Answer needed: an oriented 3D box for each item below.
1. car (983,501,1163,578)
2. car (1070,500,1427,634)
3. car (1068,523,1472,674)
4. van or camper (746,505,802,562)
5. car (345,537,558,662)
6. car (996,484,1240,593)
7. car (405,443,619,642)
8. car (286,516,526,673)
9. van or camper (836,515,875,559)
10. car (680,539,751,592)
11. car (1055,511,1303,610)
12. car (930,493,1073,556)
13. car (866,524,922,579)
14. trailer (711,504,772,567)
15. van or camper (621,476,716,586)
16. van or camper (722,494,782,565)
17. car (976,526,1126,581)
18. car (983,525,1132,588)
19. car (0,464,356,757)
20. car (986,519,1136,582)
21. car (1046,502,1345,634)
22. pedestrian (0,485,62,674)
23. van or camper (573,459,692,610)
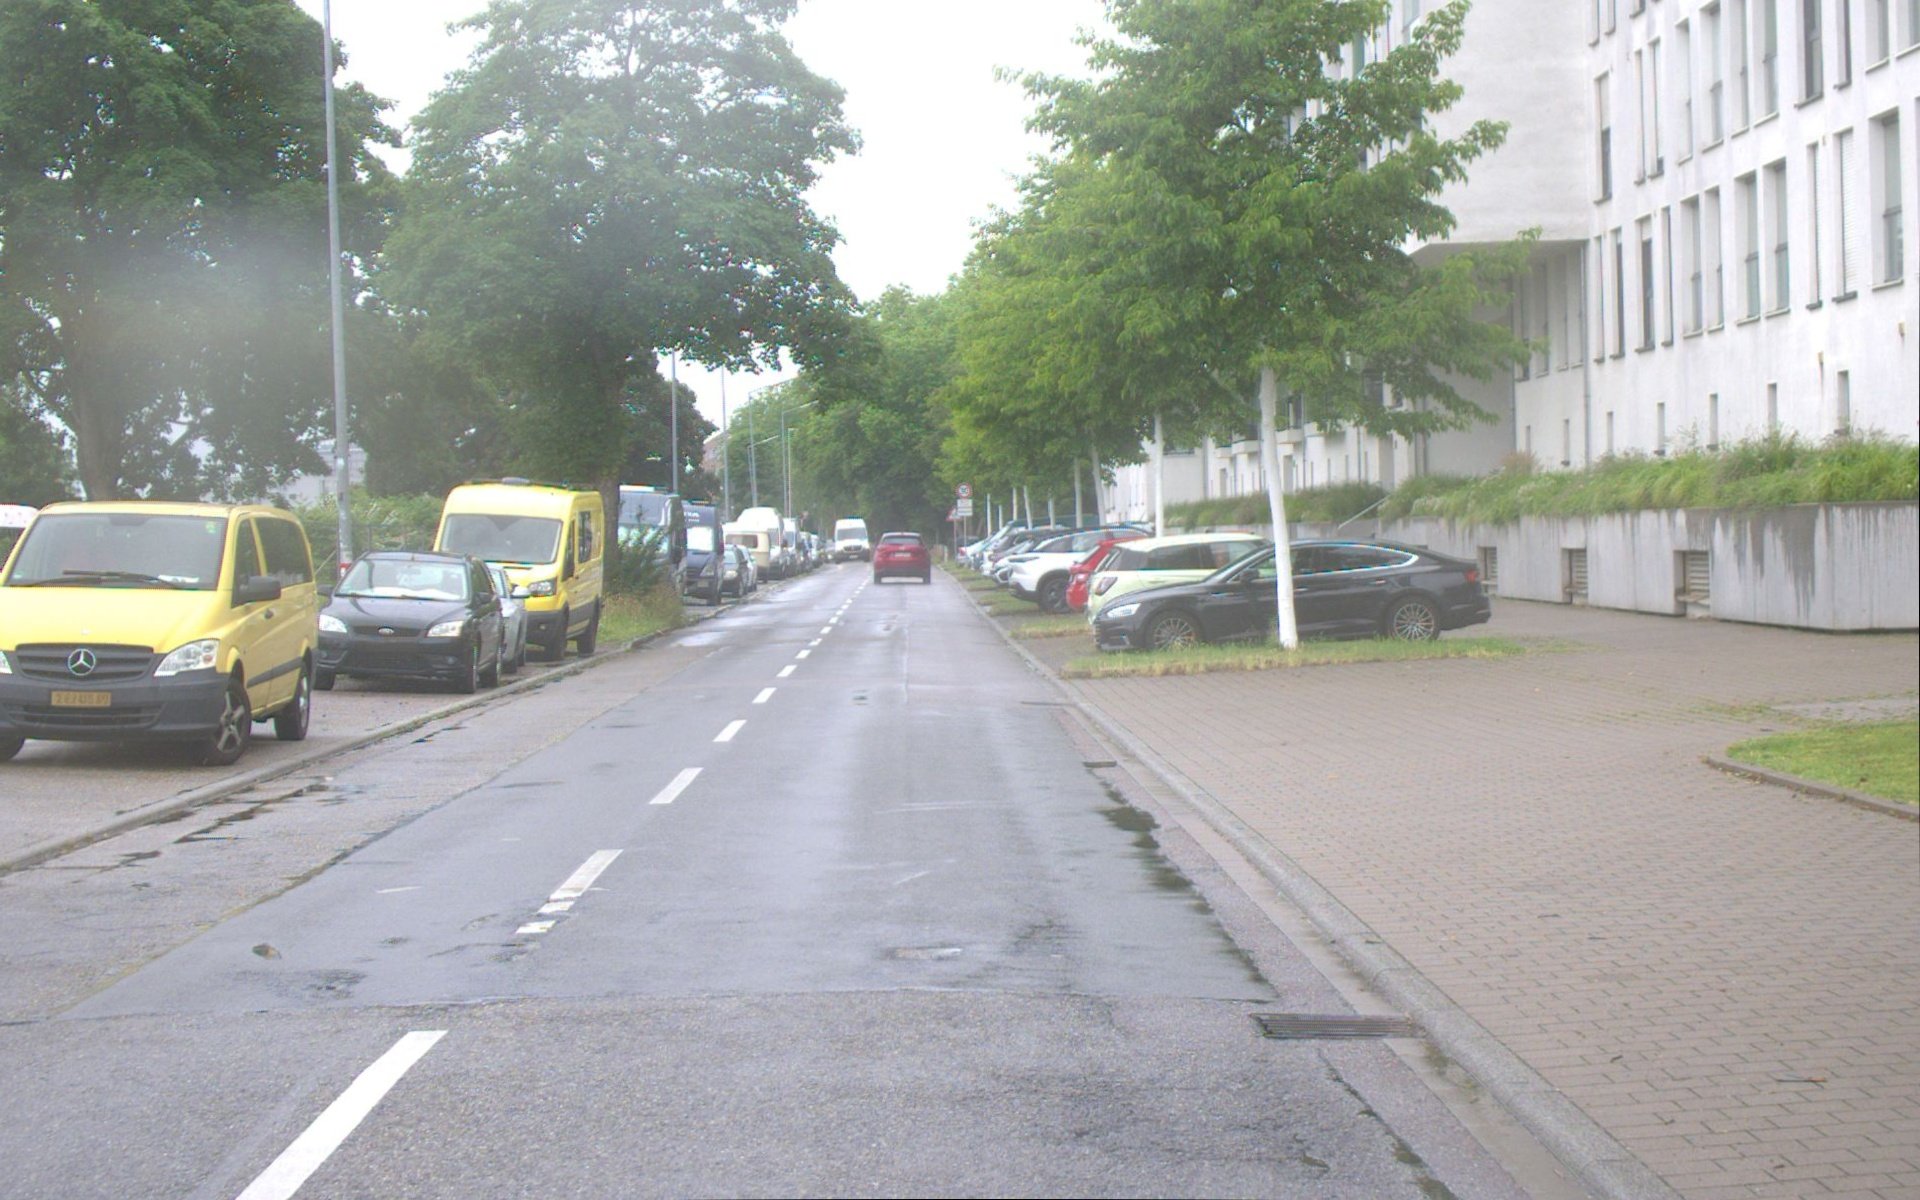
[{"bbox_3d":[2.935,-1.591,90.210,4.476,1.681,1.936,-4,2,-2],"label":"car"},{"bbox_3d":[3.786,-0.442,45.617,4.487,1.476,1.692,-4,1,-1],"label":"car"},{"bbox_3d":[3.668,-0.036,41.273,4.570,1.492,1.826,-4,1,-1],"label":"car"},{"bbox_3d":[-8.173,-2.897,151.379,2.189,2.453,6.377,0,1,-1],"label":"van or camper"},{"bbox_3d":[-6.388,-0.033,43.761,2.010,1.429,5.340,2,1,-1],"label":"car"},{"bbox_3d":[3.115,-1.225,68.501,4.539,1.679,1.886,-6,1,-3],"label":"car"},{"bbox_3d":[-6.461,-0.844,50.279,2.192,2.685,6.081,1,1,1],"label":"car"},{"bbox_3d":[-6.101,-0.087,38.428,1.993,1.588,5.018,1,1,-2],"label":"car"},{"bbox_3d":[-6.173,-3.733,203.625,1.993,2.488,7.178,-2,1,0],"label":"van or camper"},{"bbox_3d":[-7.252,-1.047,102.198,1.774,1.497,4.828,1,1,0],"label":"car"},{"bbox_3d":[3.681,-0.656,58.329,3.987,1.446,1.821,-3,0,-1],"label":"car"},{"bbox_3d":[1.380,-2.552,116.052,4.617,2.012,1.859,-1,2,-5],"label":"car"},{"bbox_3d":[-2.137,-1.565,111.539,1.756,1.700,4.000,-1,0,-1],"label":"car"},{"bbox_3d":[-7.896,-2.338,124.738,2.058,2.210,5.795,0,1,-2],"label":"trailer"},{"bbox_3d":[-7.582,-1.754,90.100,2.094,2.706,7.575,1,0,-2],"label":"van or camper"},{"bbox_3d":[-8.358,-2.830,138.844,1.993,2.752,7.899,0,1,-1],"label":"van or camper"},{"bbox_3d":[2.699,-1.390,102.610,4.298,1.423,1.637,-3,1,-3],"label":"car"},{"bbox_3d":[2.682,-1.200,95.023,3.987,1.504,1.684,-3,2,-1],"label":"car"},{"bbox_3d":[-6.095,0.026,26.127,2.017,1.950,6.065,1,1,-1],"label":"car"},{"bbox_3d":[2.925,-1.450,100.209,4.161,1.619,1.898,-3,1,-3],"label":"car"},{"bbox_3d":[3.272,-0.456,48.229,3.987,1.550,1.635,-4,1,0],"label":"car"},{"bbox_3d":[-10.161,-0.229,36.954,0.742,2.007,0.980,0,1,0],"label":"pedestrian"},{"bbox_3d":[-7.047,-1.394,74.523,2.094,3.084,6.425,1,0,-2],"label":"van or camper"}]
